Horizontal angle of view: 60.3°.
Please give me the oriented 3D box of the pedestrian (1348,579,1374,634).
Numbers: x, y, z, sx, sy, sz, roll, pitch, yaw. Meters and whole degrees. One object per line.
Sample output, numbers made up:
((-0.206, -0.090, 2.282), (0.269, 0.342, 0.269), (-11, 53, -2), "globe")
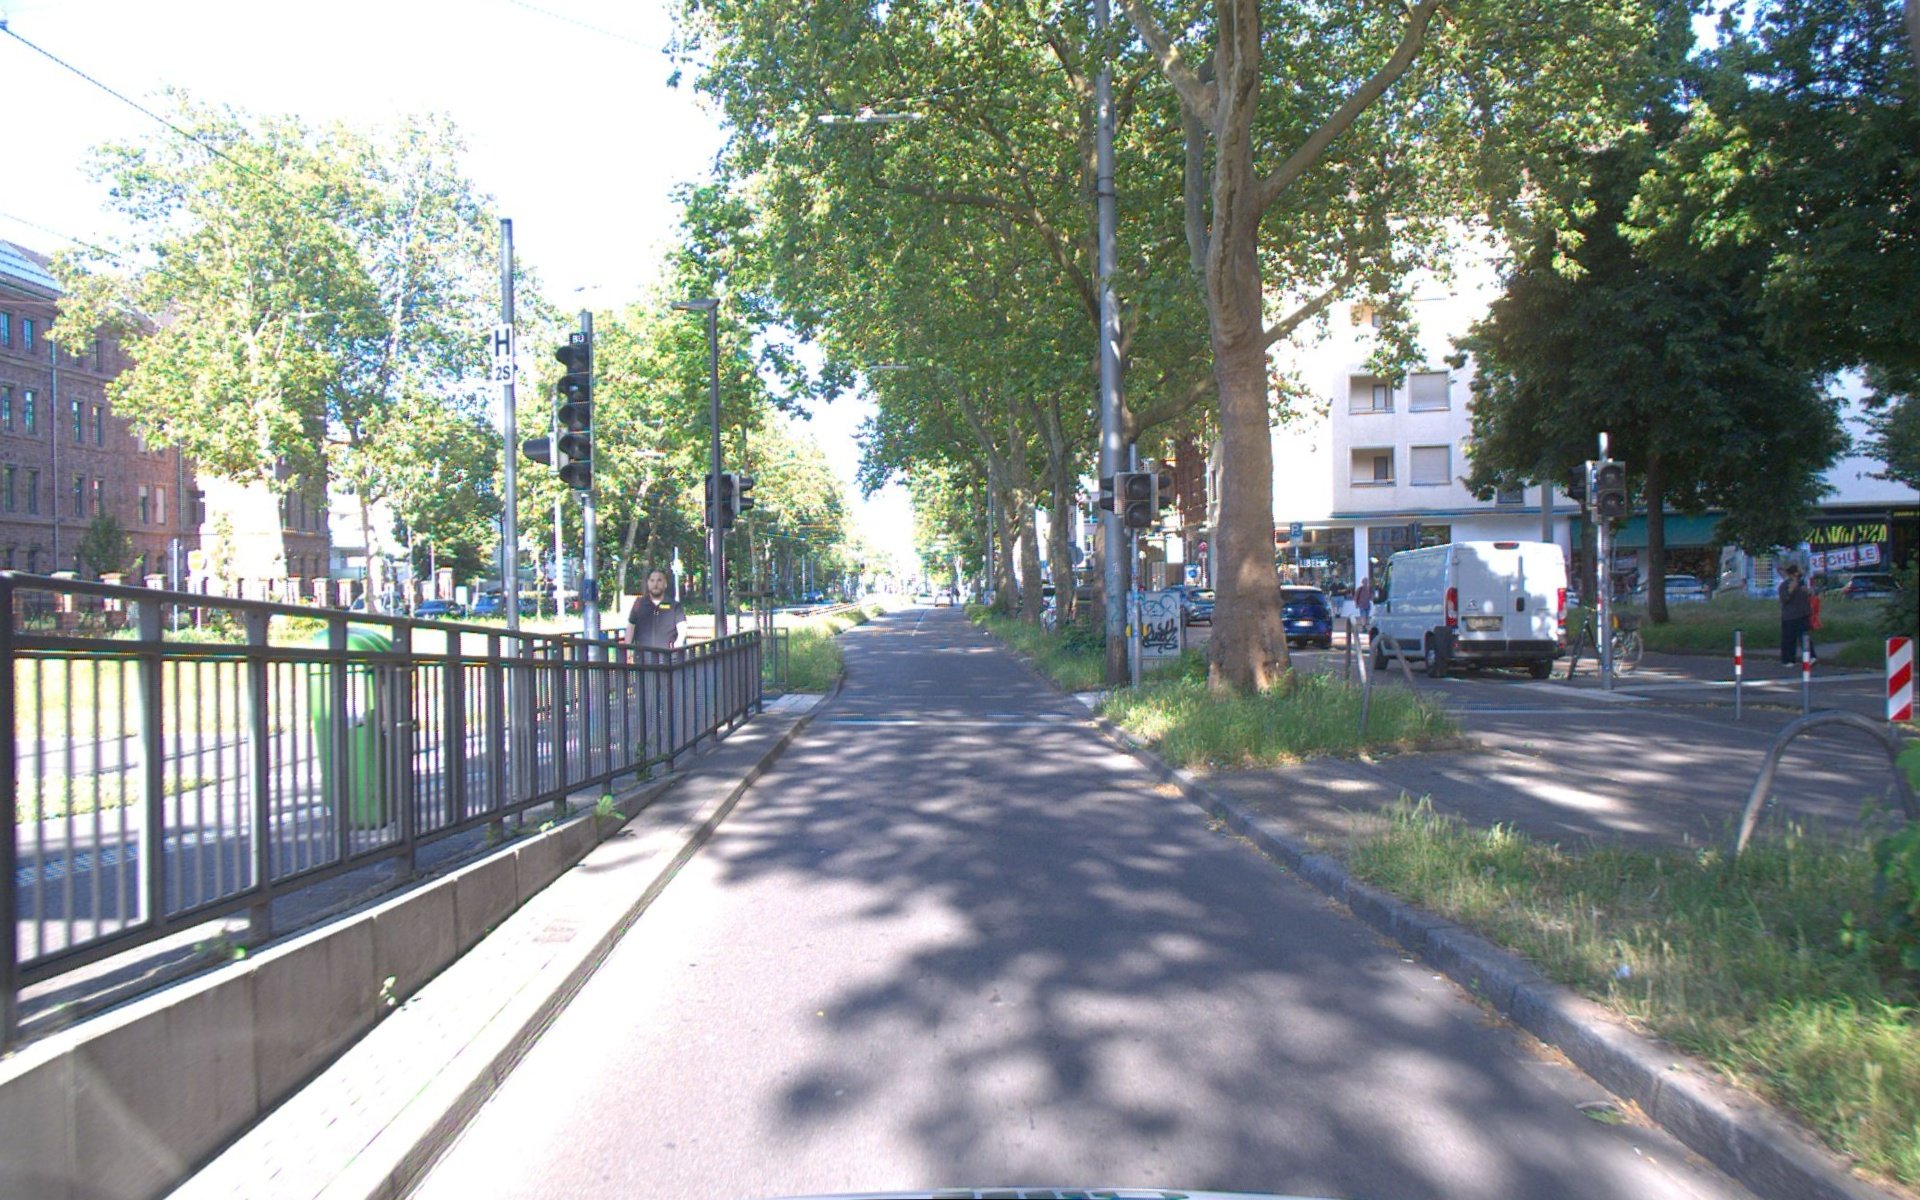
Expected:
((12.564, 0.196, 51.838), (0.665, 1.680, 0.906), (-1, 0, 6), "pedestrian")

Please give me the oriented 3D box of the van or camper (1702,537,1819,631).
((24.364, -0.476, 50.539), (2.101, 2.682, 5.592), (-1, 0, 14), "van or camper")

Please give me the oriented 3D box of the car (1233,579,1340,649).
((8.808, 0.359, 45.057), (1.782, 1.772, 5.166), (-1, 0, -1), "car")

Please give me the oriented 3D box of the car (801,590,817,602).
((-20.983, -0.506, 229.956), (1.759, 1.534, 4.338), (-4, 0, 0), "car")

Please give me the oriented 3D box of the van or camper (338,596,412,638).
((-26.946, 0.738, 76.316), (1.954, 1.819, 4.430), (-2, 0, -3), "van or camper")

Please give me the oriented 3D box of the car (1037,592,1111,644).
((3.300, 0.492, 48.595), (1.718, 1.422, 5.025), (-1, 0, -1), "car")

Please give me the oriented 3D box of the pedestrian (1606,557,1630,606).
((25.156, -0.697, 63.243), (0.706, 1.840, 0.690), (-1, 0, 13), "pedestrian")

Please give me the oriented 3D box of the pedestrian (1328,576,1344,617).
((15.339, -0.139, 67.445), (0.579, 1.678, 0.725), (-1, 0, 10), "pedestrian")

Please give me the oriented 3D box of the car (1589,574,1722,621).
((25.617, -0.095, 61.065), (4.288, 1.673, 2.002), (-1, 0, 15), "car")

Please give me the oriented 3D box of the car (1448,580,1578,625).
((20.808, 0.087, 62.450), (4.488, 1.608, 2.002), (-1, 0, 14), "car")

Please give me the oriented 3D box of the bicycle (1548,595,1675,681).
((10.147, 0.579, 25.810), (1.573, 1.285, 0.962), (-1, 0, -6), "bicycle")

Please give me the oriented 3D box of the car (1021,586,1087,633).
((3.459, 0.331, 61.704), (1.865, 1.664, 4.821), (-1, 0, -4), "car")

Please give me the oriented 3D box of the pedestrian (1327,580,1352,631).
((13.381, 0.195, 58.320), (0.653, 1.758, 0.717), (-1, 0, 27), "pedestrian")

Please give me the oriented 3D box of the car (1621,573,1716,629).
((21.845, 0.016, 51.149), (1.951, 1.656, 4.393), (-1, 0, 14), "car")

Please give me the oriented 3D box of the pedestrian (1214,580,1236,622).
((10.979, 0.033, 68.491), (0.779, 1.734, 0.724), (-1, 0, -1), "pedestrian")

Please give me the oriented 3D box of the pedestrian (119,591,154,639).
((-33.475, 0.594, 67.235), (0.882, 1.932, 0.942), (-1, 0, 0), "pedestrian")

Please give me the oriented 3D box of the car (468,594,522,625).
((-27.290, 0.525, 97.204), (1.731, 1.749, 4.422), (-1, 0, 3), "car")

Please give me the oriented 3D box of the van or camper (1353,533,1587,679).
((8.897, 0.094, 29.520), (2.244, 2.326, 5.821), (-1, 0, -1), "van or camper")

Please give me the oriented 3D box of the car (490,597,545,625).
((-27.440, 0.667, 102.694), (1.952, 1.643, 4.422), (-1, 0, 3), "car")

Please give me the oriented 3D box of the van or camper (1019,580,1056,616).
((4.740, -0.113, 101.613), (1.797, 2.134, 4.772), (2, 0, -2), "van or camper")

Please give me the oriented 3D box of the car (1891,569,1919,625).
((29.670, -0.106, 49.435), (1.951, 1.698, 4.749), (-1, 0, 14), "car")

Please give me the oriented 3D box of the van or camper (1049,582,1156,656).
((3.250, 0.412, 38.046), (1.477, 1.615, 2.826), (-1, 0, -18), "van or camper")

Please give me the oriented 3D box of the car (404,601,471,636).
((-27.290, 0.925, 86.548), (1.953, 1.678, 4.827), (-1, 1, 0), "car")

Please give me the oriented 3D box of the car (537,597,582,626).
((-27.503, 0.772, 113.687), (2.067, 1.840, 4.736), (-1, 0, -3), "car")

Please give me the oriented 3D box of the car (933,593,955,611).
((-1.559, 0.194, 159.609), (1.980, 1.691, 3.999), (-1, 0, -1), "car")

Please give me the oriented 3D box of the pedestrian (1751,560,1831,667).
((13.189, 0.206, 26.271), (0.717, 1.644, 1.035), (-1, 0, -1), "pedestrian")

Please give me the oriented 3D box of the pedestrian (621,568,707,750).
((-2.854, 0.555, 16.002), (0.698, 1.710, 0.772), (-1, 0, -3), "pedestrian")

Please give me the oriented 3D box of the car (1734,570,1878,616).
((30.484, -0.259, 59.747), (4.288, 1.563, 2.002), (-1, 0, 15), "car")

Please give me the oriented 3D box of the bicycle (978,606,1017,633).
((1.528, 0.793, 67.150), (1.560, 1.077, 0.404), (-1, 0, 6), "bicycle")

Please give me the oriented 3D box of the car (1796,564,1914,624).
((26.819, -0.195, 49.731), (1.951, 1.698, 4.749), (-1, 0, 14), "car")
